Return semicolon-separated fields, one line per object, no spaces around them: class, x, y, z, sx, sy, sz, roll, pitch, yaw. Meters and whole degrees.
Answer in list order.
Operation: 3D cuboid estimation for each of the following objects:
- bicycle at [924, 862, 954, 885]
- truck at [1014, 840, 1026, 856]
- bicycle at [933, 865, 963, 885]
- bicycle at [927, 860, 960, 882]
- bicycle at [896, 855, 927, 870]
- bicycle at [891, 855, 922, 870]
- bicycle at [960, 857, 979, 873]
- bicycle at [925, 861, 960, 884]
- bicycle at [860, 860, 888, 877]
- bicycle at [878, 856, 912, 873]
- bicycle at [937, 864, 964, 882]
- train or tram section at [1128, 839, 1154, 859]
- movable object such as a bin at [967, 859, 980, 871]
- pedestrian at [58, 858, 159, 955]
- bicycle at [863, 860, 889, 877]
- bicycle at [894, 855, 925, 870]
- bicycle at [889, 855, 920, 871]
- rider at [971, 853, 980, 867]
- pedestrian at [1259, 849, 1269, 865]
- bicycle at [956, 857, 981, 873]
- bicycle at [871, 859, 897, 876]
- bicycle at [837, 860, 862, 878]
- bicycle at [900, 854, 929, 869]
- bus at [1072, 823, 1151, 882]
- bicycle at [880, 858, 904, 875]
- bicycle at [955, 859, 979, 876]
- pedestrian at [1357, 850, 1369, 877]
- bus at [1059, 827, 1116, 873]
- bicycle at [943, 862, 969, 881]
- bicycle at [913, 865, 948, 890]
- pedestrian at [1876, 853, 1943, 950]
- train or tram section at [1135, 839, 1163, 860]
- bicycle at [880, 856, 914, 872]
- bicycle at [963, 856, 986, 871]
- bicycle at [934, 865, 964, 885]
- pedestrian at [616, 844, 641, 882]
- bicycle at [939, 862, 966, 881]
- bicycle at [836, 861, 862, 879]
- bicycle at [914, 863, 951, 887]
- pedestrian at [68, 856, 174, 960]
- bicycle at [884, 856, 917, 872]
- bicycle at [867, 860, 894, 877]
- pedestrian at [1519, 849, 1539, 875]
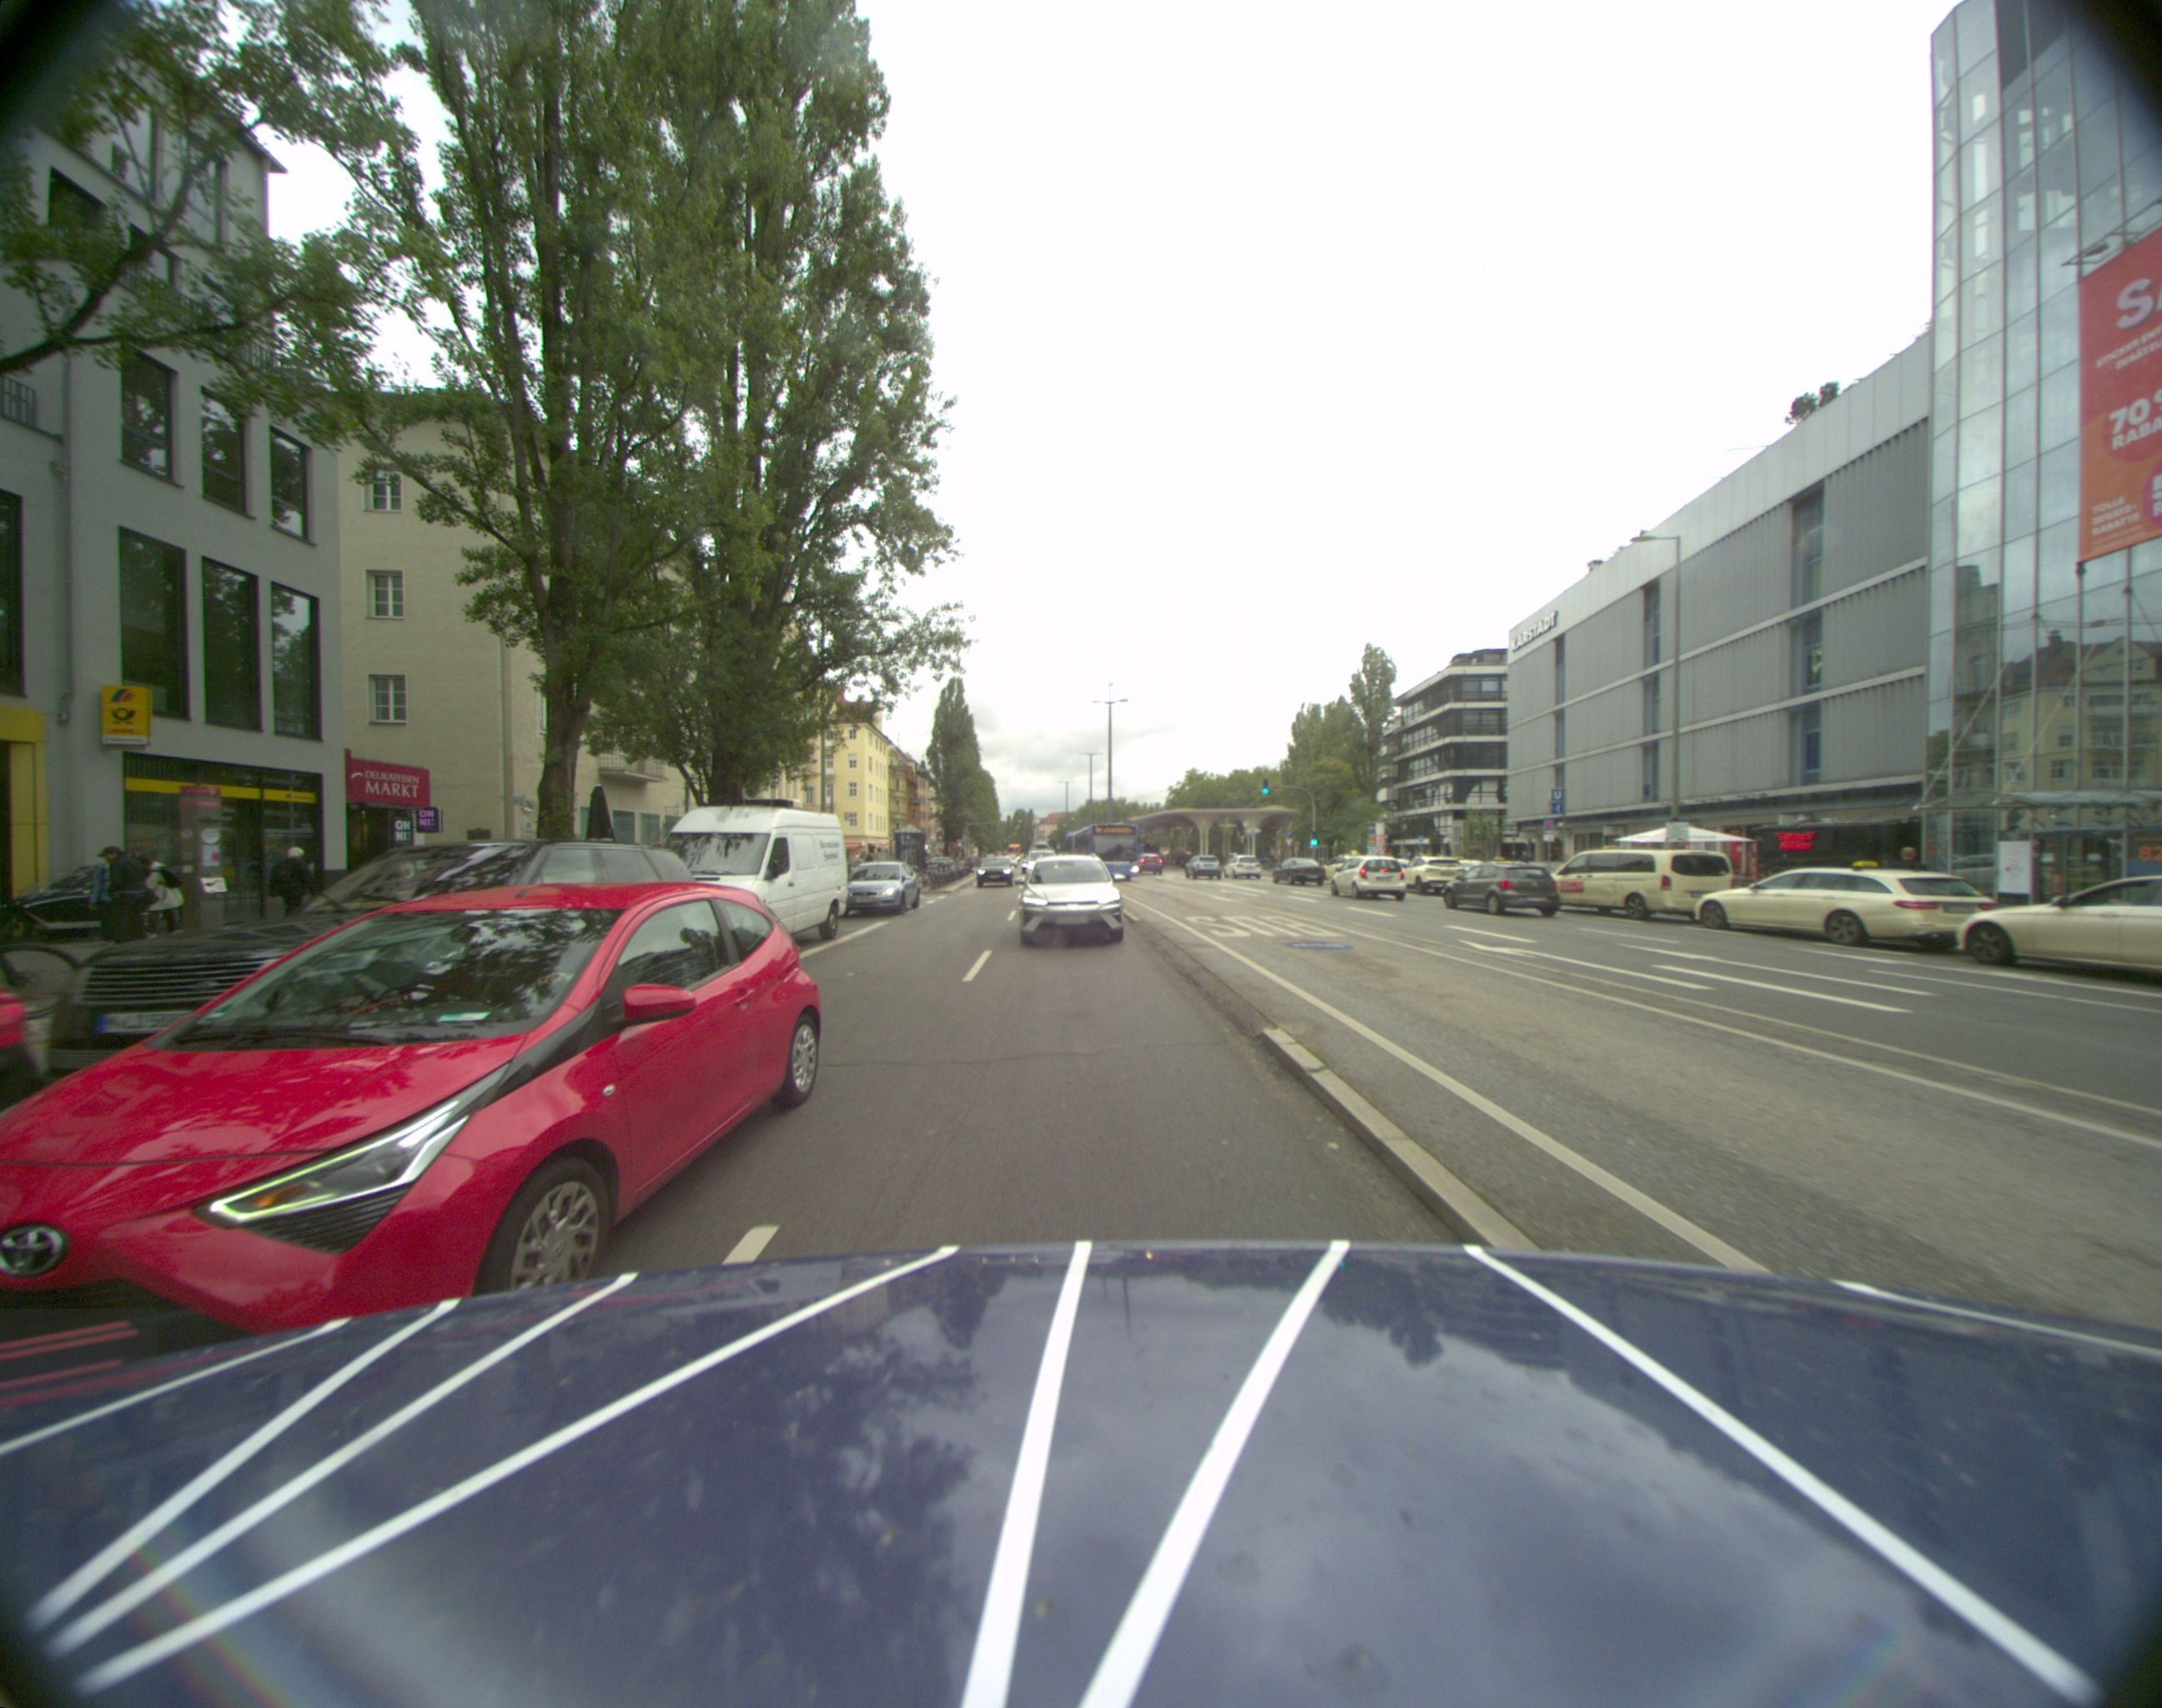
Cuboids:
bicycle;-7.081;0.961;37.866;1.797;1.048;0.368;-4;-1;40
truck;-13.876;-1.405;173.054;2.542;3.468;7.748;0;1;-4
bicycle;-7.242;1.148;41.318;1.797;1.004;0.387;-4;0;34
bicycle;-7.396;0.908;40.807;1.797;1.098;0.548;-4;-1;34
bicycle;-13.825;0.670;62.001;2.318;1.220;0.628;0;1;-2
bicycle;-13.923;0.697;60.679;2.318;1.220;0.628;0;1;-2
bicycle;-8.250;0.825;56.108;1.521;1.131;0.348;-1;1;32
bicycle;-7.047;0.941;38.579;1.797;1.098;0.548;-4;-1;34
bicycle;-13.175;0.933;48.434;1.661;1.071;0.410;1;1;-2
bicycle;-13.830;0.774;56.462;2.368;1.220;0.628;0;1;-2
bicycle;-7.731;1.121;44.985;1.797;1.004;0.387;-4;0;34
train or tram section;8.982;-0.754;114.846;2.841;2.983;7.404;0;0;-4
movable object such as a bin;-9.628;0.961;67.969;1.090;1.056;0.747;2;1;-7
pedestrian;-16.482;0.865;12.898;0.693;1.576;0.772;0;1;-4
bicycle;-12.911;0.916;47.845;1.529;1.071;0.410;1;1;-6
bicycle;-13.837;0.682;61.366;2.318;1.220;0.628;0;1;-2
bicycle;-13.893;0.711;59.924;2.331;1.220;0.628;0;1;-2
rider;-9.462;0.533;67.955;0.732;1.234;0.732;2;1;-7
pedestrian;20.608;0.354;85.525;0.861;1.767;0.980;0;1;-3
bicycle;-8.234;0.837;55.469;1.791;1.131;0.591;-1;1;32
bicycle;-13.038;0.894;50.322;1.606;1.071;0.410;1;1;-6
bicycle;-14.673;0.956;48.177;1.453;1.071;0.409;1;1;-13
bicycle;-13.902;0.646;63.380;2.318;1.220;0.628;0;1;-2
bus;1.485;-0.165;43.728;2.943;2.927;11.205;-1;1;-6
bicycle;-12.896;0.850;51.912;0.409;1.071;1.765;2;1;36
bicycle;-7.820;0.892;51.996;1.790;1.131;0.490;-1;1;40
pedestrian;17.611;0.592;47.502;0.525;1.719;0.428;-2;2;-5
bus;0.279;-0.346;55.537;2.943;2.927;11.205;-1;1;-6
bicycle;-7.752;1.083;47.030;1.848;1.053;0.398;-4;-1;41
bicycle;-6.761;1.065;34.156;1.572;1.048;0.548;-4;-1;34
pedestrian;16.648;0.920;15.270;0.848;1.856;0.786;0;2;-39
train or tram section;9.528;-0.634;107.446;2.841;2.983;7.404;0;0;-4
bicycle;-13.829;0.761;57.142;2.343;1.220;0.628;0;1;-2
bicycle;-8.257;0.775;58.761;1.780;1.131;0.479;-1;1;30
bicycle;-7.292;1.138;41.900;1.797;1.004;0.387;-4;0;34
pedestrian;-19.554;0.371;32.847;0.602;1.641;0.765;0;1;2
bicycle;-7.873;1.097;46.428;1.797;1.053;0.398;-4;0;34
bicycle;-14.352;0.969;47.025;1.453;1.071;0.409;1;1;-13
bicycle;-7.010;0.999;35.754;1.797;1.048;0.548;-4;-1;34
pedestrian;-15.695;0.853;12.441;0.693;1.639;0.798;0;1;-4
bicycle;-13.736;0.745;57.866;2.318;1.220;0.628;0;1;-2
bicycle;-12.923;0.917;48.959;1.638;1.071;0.410;1;1;0
pedestrian;26.473;0.459;44.902;0.733;1.537;0.900;0;1;9
